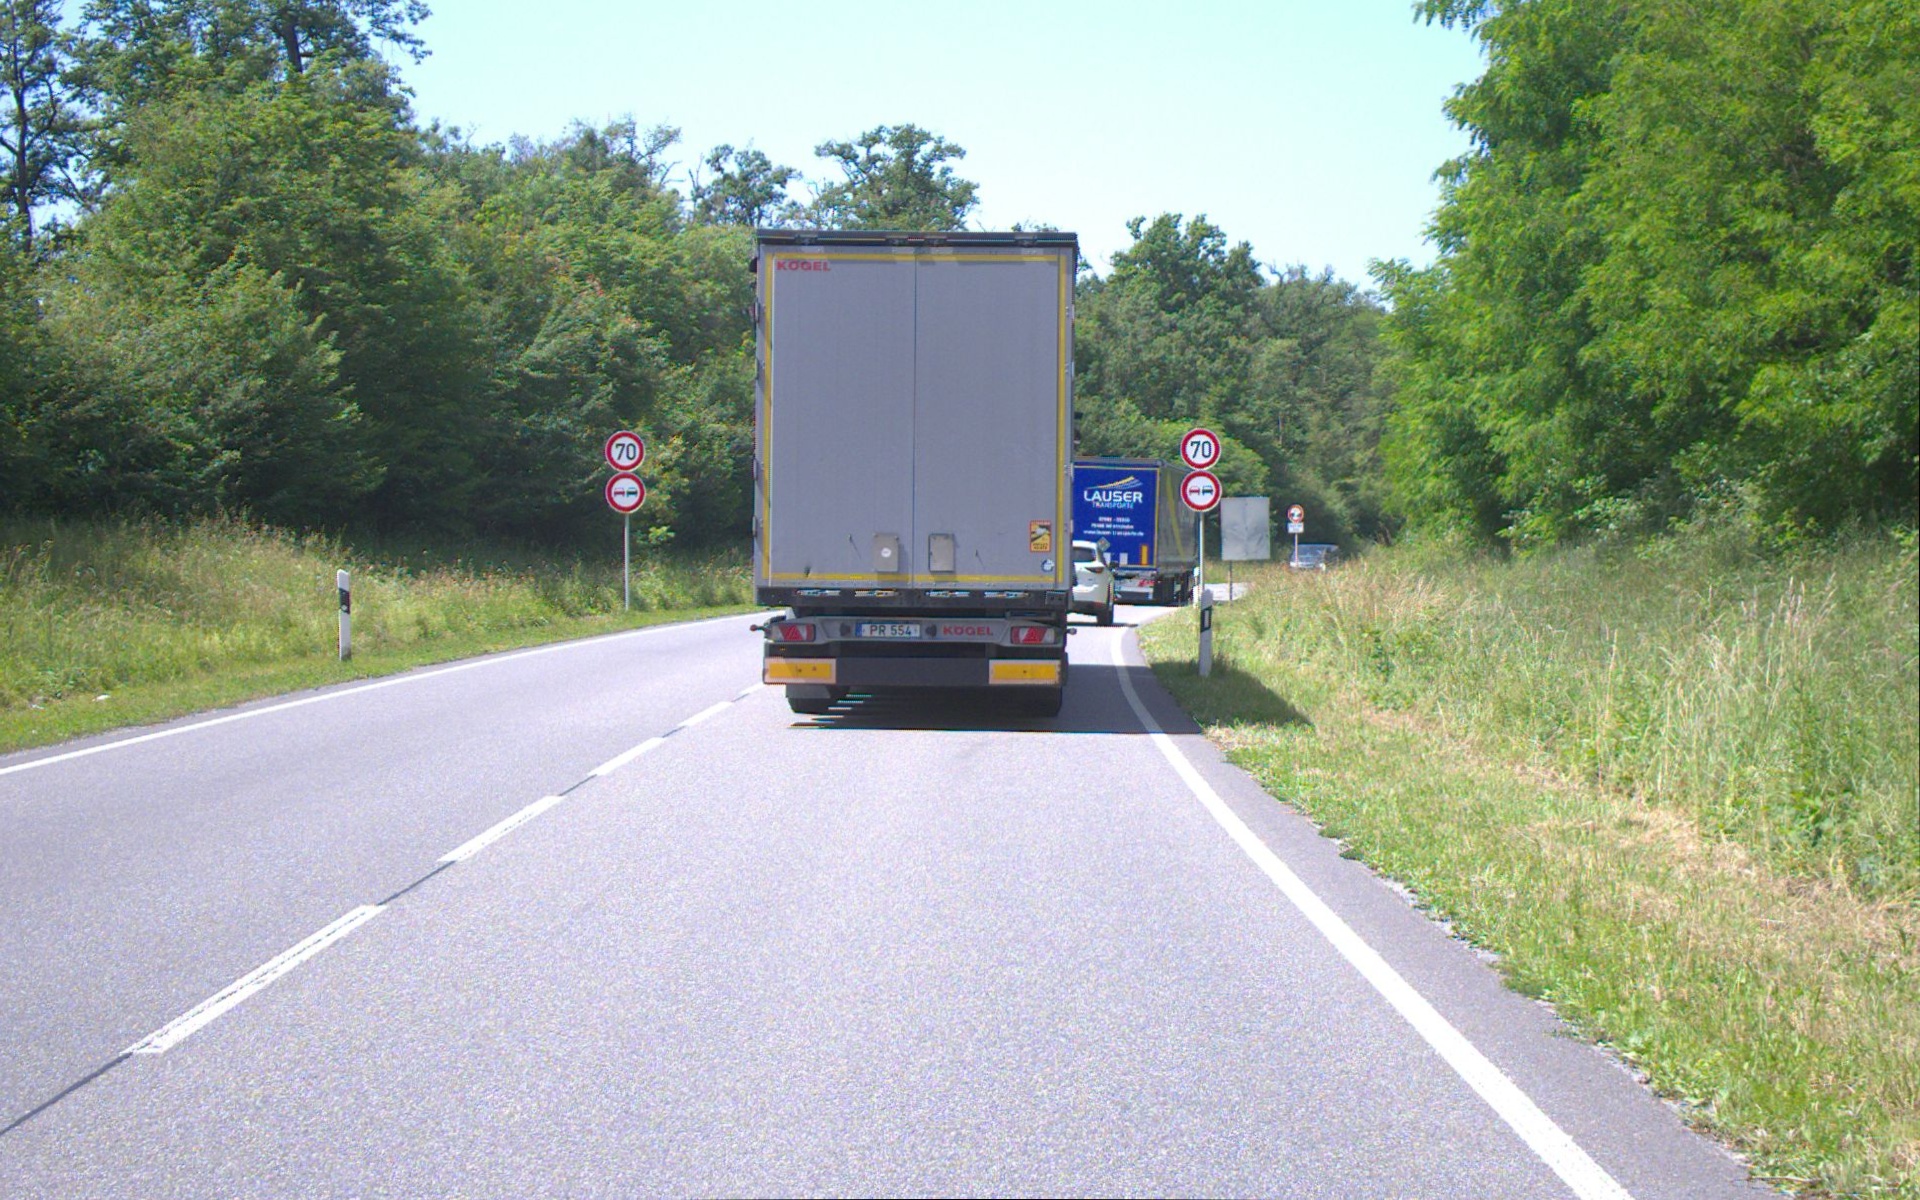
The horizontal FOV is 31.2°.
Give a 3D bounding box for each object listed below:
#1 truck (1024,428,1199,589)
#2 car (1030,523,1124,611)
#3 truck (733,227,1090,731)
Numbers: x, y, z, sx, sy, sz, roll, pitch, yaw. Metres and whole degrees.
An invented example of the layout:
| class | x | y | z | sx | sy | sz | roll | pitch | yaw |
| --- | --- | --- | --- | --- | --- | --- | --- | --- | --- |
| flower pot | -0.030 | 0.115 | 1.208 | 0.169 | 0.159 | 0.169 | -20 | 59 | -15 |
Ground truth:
| class | x | y | z | sx | sy | sz | roll | pitch | yaw |
| --- | --- | --- | --- | --- | --- | --- | --- | --- | --- |
| truck | 4.630 | -2.655 | 100.948 | 3.794 | 4.358 | 14.916 | 0 | 1 | 8 |
| car | 2.361 | -0.682 | 68.564 | 1.770 | 1.703 | 4.000 | 0 | 1 | 3 |
| truck | -0.405 | -1.094 | 33.231 | 2.761 | 3.933 | 12.198 | 1 | 1 | 0 |
